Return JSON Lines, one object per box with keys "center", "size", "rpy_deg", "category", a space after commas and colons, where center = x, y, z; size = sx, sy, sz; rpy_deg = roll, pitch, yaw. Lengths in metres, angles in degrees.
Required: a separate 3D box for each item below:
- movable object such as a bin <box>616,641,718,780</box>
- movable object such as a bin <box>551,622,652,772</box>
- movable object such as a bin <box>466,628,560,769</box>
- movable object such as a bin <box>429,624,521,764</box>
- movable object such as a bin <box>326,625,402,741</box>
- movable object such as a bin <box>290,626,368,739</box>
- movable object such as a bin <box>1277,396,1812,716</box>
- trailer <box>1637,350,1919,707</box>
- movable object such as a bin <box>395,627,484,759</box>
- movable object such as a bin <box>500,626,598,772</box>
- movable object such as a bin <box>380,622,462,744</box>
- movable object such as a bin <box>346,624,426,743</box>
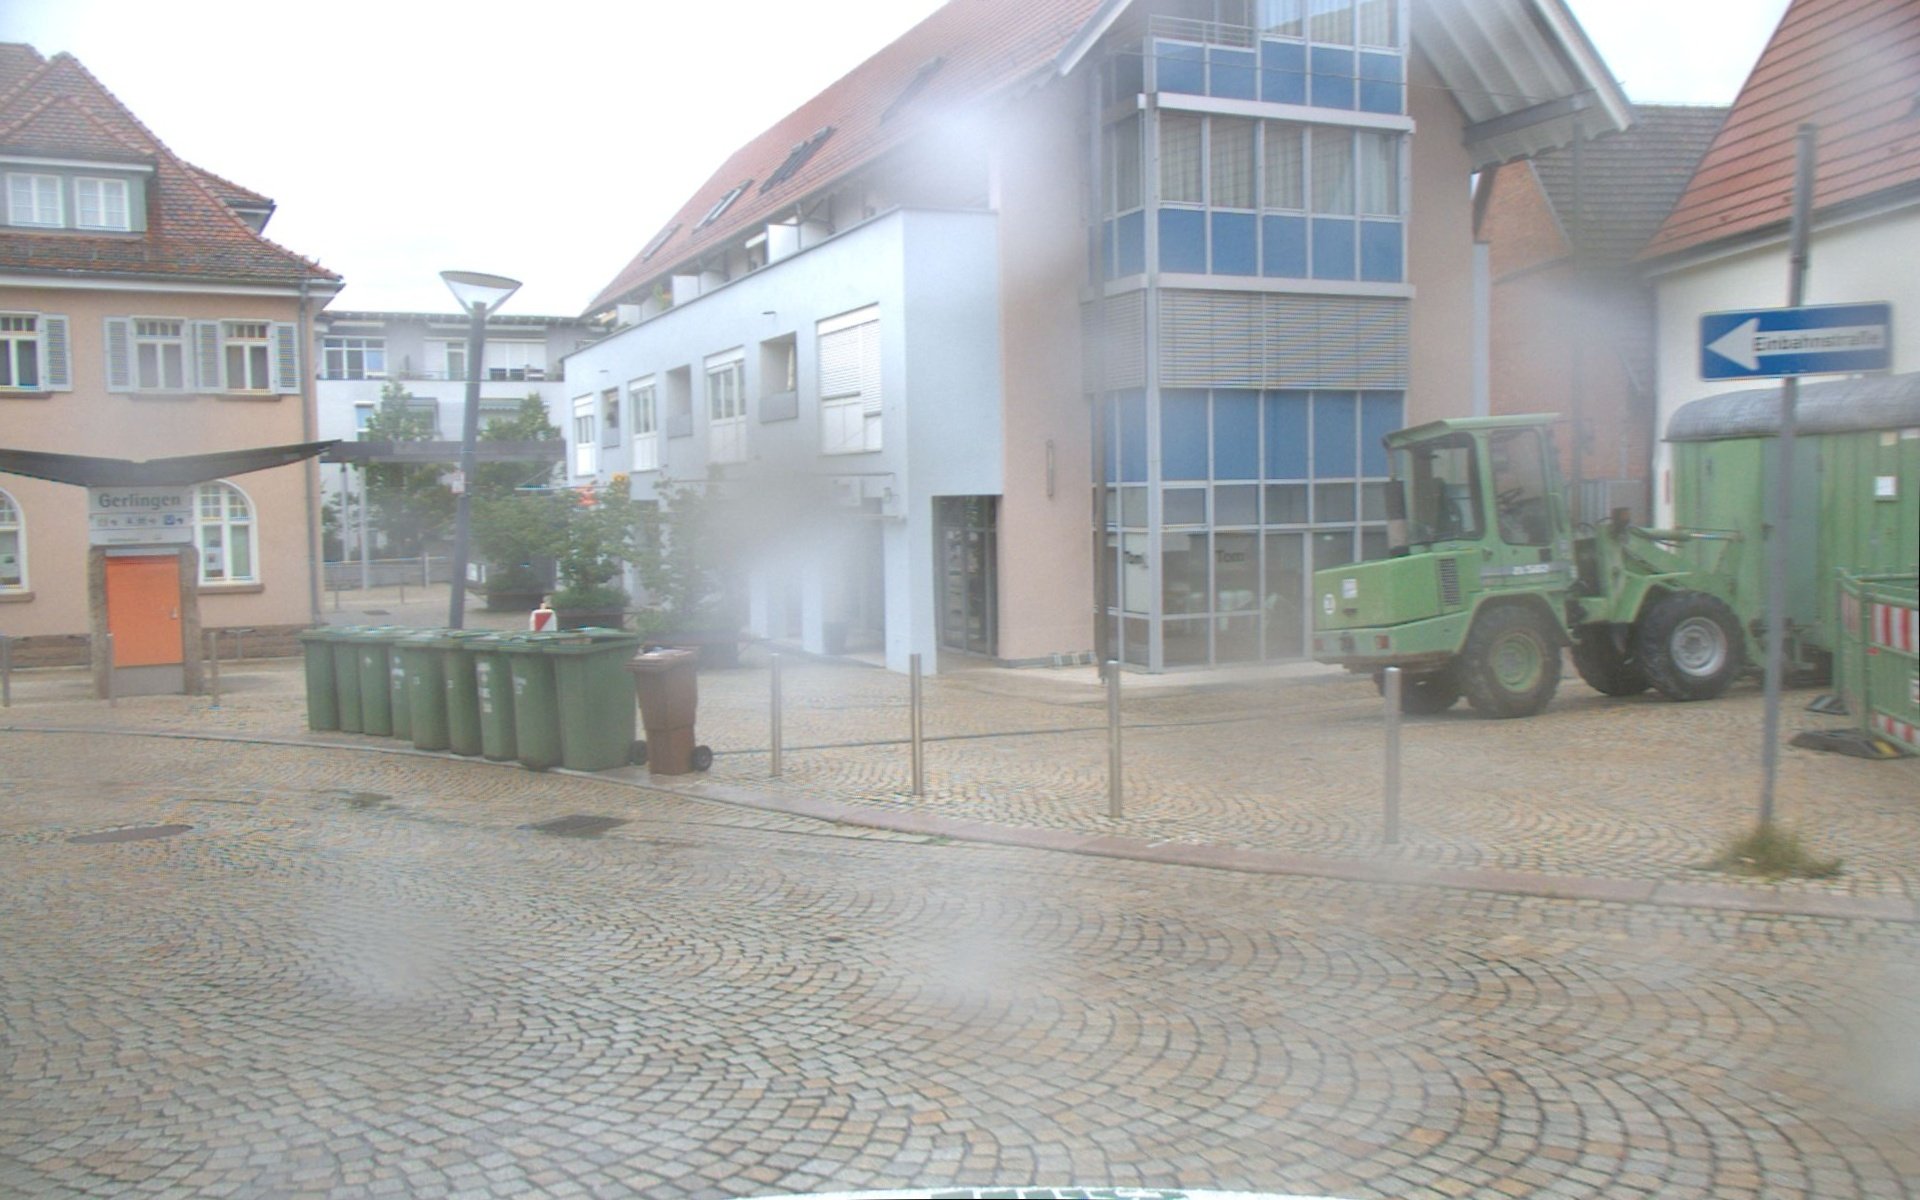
{"center": [-2.273, 0.841, 12.832], "size": [0.489, 1.008, 0.559], "rpy_deg": [-2, 1, 38], "category": "movable object such as a bin"}
{"center": [-2.895, 0.769, 13.360], "size": [0.557, 1.145, 0.542], "rpy_deg": [-4, 2, -42], "category": "movable object such as a bin"}
{"center": [-3.848, 0.832, 14.239], "size": [0.557, 1.145, 0.533], "rpy_deg": [-4, 2, -42], "category": "movable object such as a bin"}
{"center": [-4.315, 0.824, 14.717], "size": [0.557, 1.179, 0.542], "rpy_deg": [-4, 2, -42], "category": "movable object such as a bin"}
{"center": [-6.174, 0.844, 17.131], "size": [0.534, 1.145, 0.531], "rpy_deg": [-4, 2, -42], "category": "movable object such as a bin"}
{"center": [-6.678, 0.866, 17.506], "size": [0.529, 1.145, 0.536], "rpy_deg": [-2, 1, 37], "category": "movable object such as a bin"}
{"center": [5.271, -0.430, 15.136], "size": [4.202, 2.598, 1.906], "rpy_deg": [-2, 1, -12], "category": "movable object such as a bin"}
{"center": [8.735, -0.708, 15.461], "size": [2.437, 2.885, 4.627], "rpy_deg": [0, 4, -7], "category": "trailer"}
{"center": [-4.792, 0.840, 15.228], "size": [0.557, 1.145, 0.542], "rpy_deg": [-4, 2, -42], "category": "movable object such as a bin"}
{"center": [-3.403, 0.802, 13.695], "size": [0.557, 1.145, 0.542], "rpy_deg": [-4, 2, -42], "category": "movable object such as a bin"}
{"center": [-5.319, 0.808, 16.316], "size": [0.557, 1.145, 0.542], "rpy_deg": [-4, 2, -42], "category": "movable object such as a bin"}
{"center": [-5.792, 0.832, 16.691], "size": [0.557, 1.145, 0.542], "rpy_deg": [-4, 2, -42], "category": "movable object such as a bin"}
